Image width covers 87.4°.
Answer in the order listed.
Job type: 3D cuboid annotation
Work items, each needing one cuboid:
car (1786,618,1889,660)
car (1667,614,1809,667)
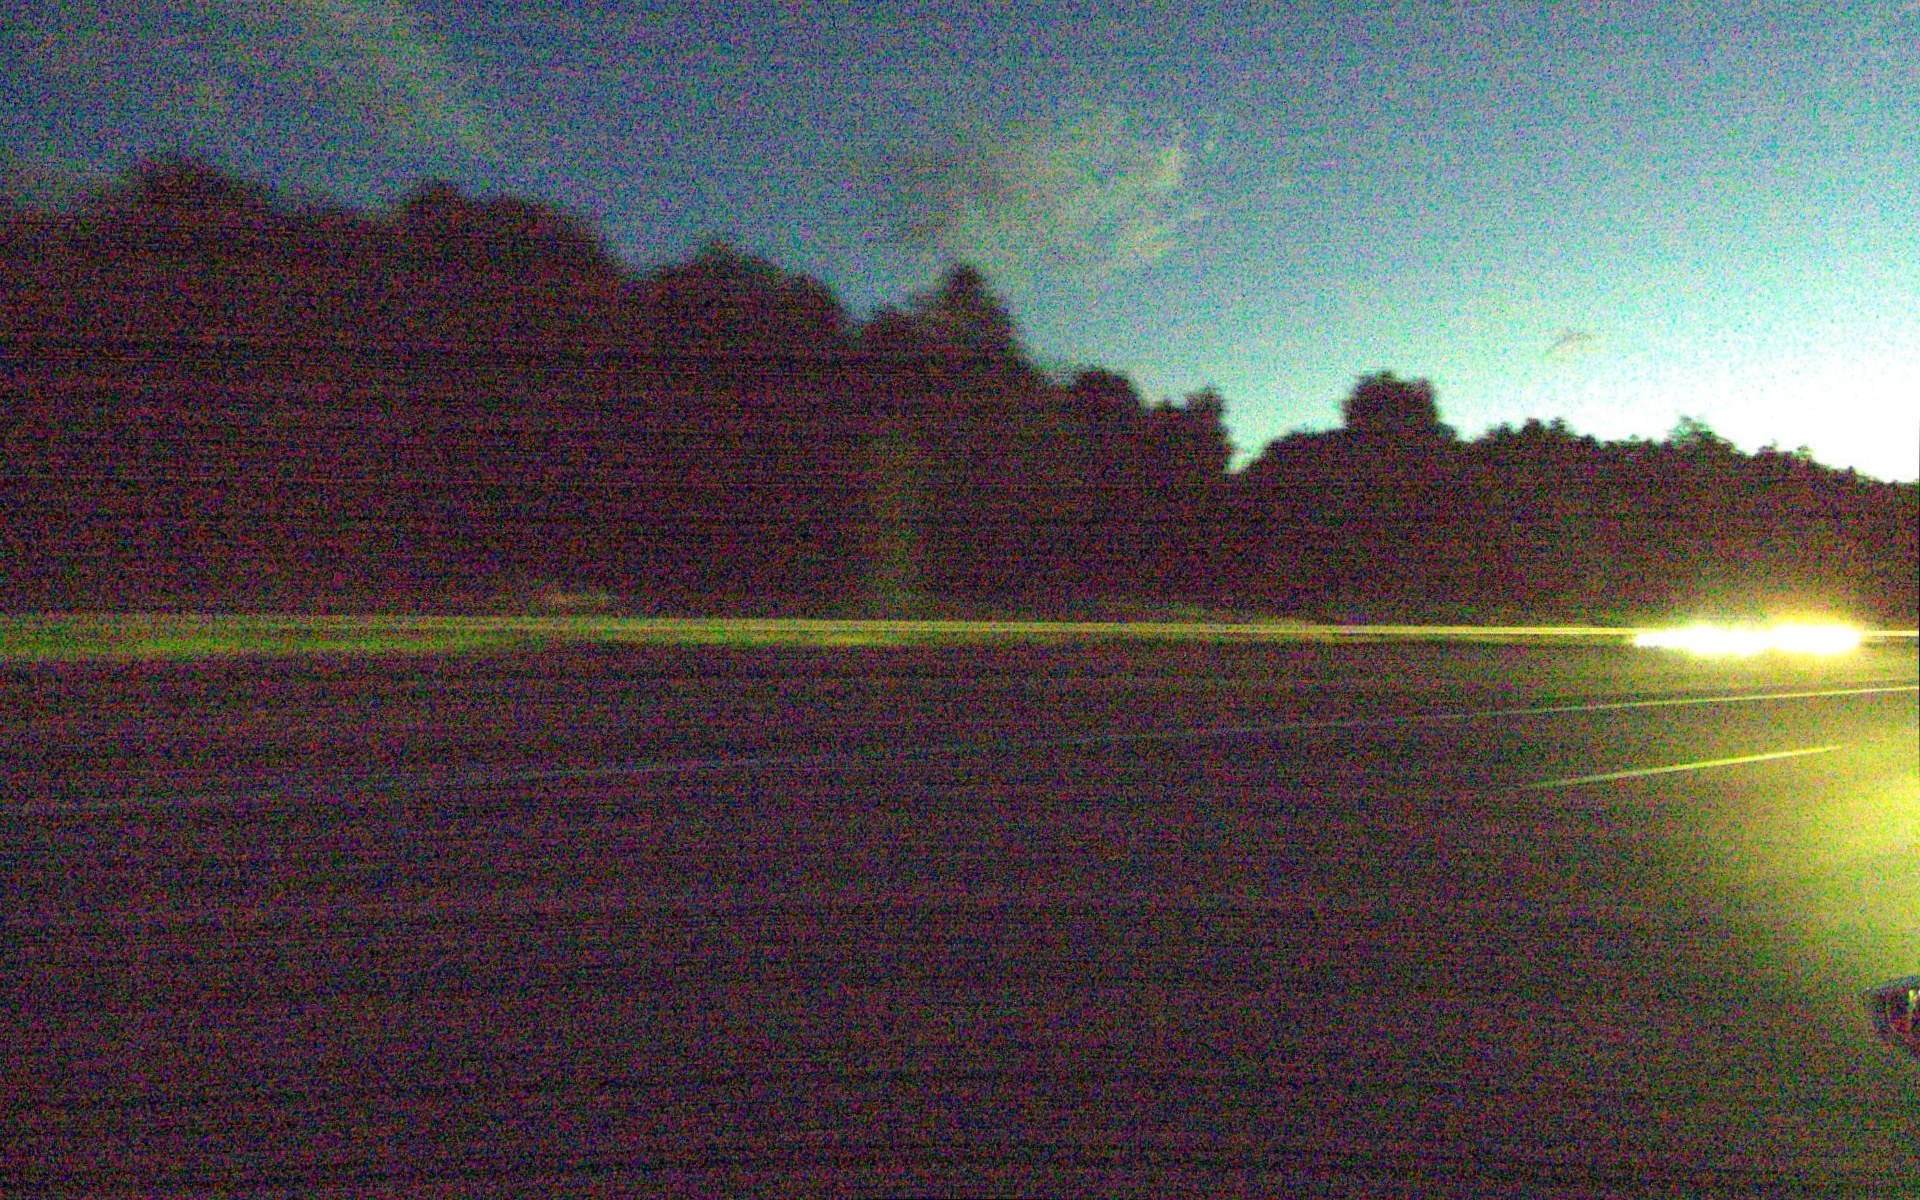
[{"bbox_3d":[37.616,1.692,43.064,4.346,1.672,1.985,2,-1,-29],"label":"car"},{"bbox_3d":[23.835,1.247,30.770,4.158,1.488,1.985,2,-1,-29],"label":"car"}]
